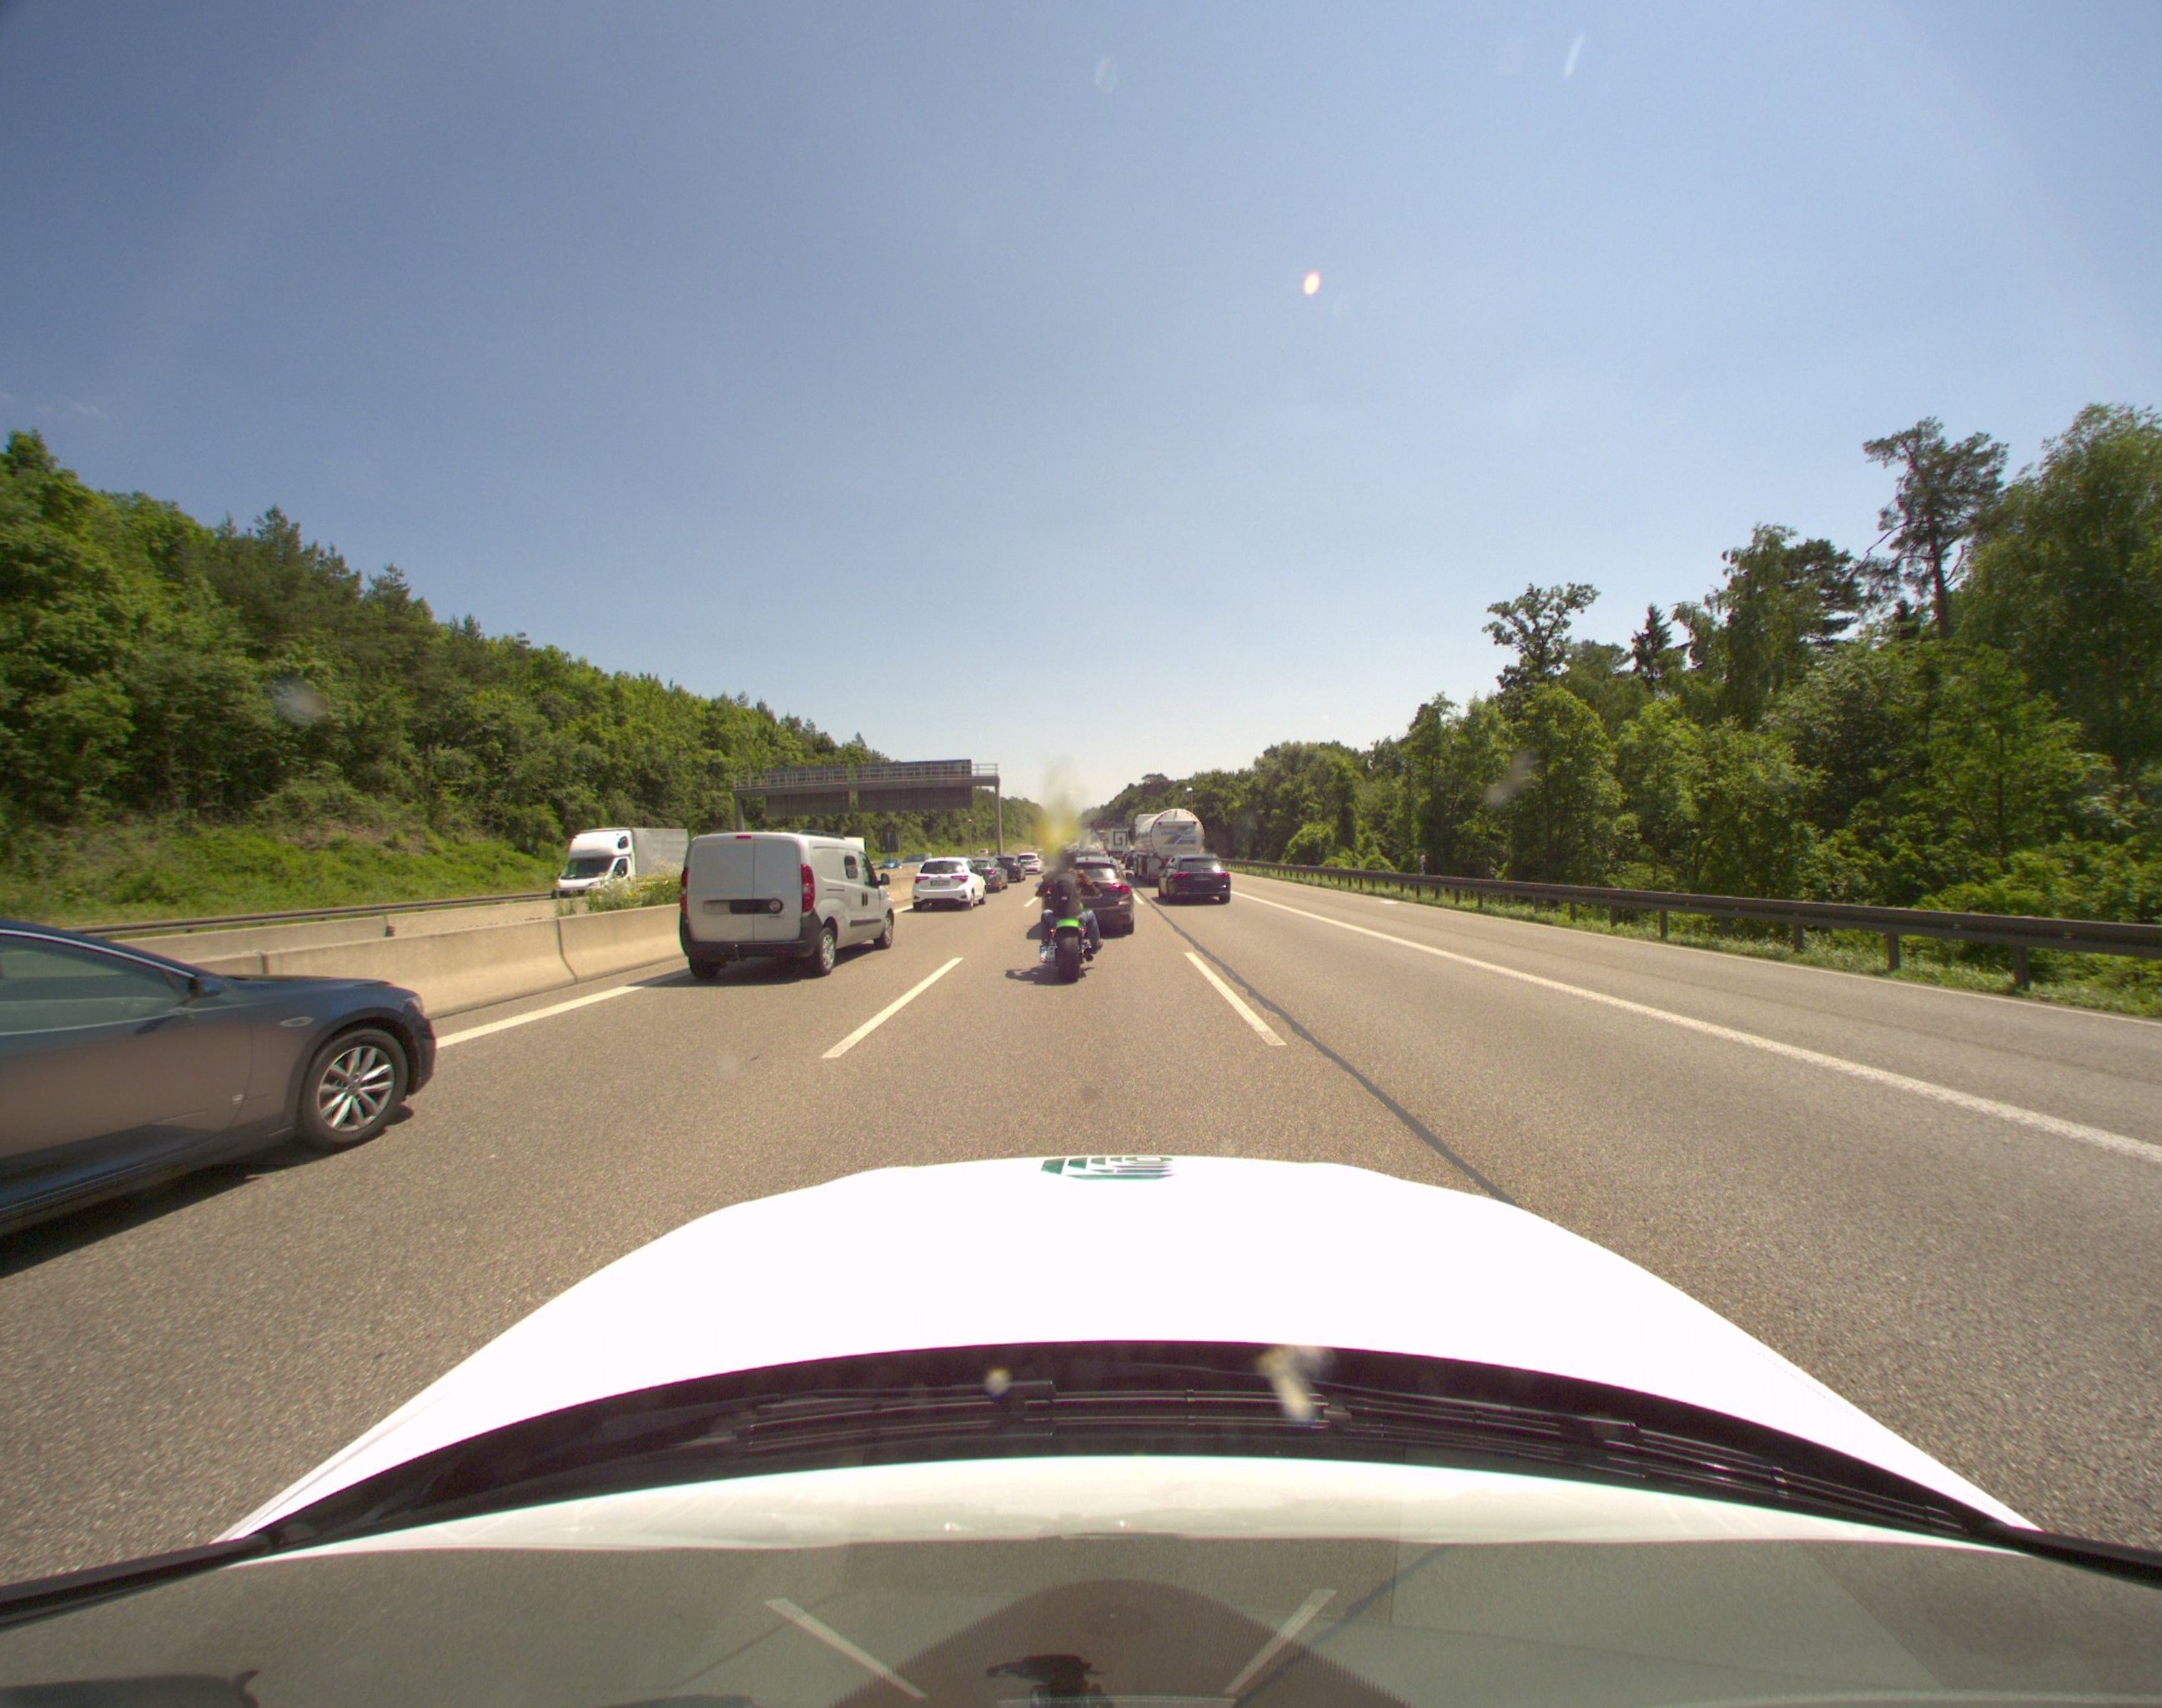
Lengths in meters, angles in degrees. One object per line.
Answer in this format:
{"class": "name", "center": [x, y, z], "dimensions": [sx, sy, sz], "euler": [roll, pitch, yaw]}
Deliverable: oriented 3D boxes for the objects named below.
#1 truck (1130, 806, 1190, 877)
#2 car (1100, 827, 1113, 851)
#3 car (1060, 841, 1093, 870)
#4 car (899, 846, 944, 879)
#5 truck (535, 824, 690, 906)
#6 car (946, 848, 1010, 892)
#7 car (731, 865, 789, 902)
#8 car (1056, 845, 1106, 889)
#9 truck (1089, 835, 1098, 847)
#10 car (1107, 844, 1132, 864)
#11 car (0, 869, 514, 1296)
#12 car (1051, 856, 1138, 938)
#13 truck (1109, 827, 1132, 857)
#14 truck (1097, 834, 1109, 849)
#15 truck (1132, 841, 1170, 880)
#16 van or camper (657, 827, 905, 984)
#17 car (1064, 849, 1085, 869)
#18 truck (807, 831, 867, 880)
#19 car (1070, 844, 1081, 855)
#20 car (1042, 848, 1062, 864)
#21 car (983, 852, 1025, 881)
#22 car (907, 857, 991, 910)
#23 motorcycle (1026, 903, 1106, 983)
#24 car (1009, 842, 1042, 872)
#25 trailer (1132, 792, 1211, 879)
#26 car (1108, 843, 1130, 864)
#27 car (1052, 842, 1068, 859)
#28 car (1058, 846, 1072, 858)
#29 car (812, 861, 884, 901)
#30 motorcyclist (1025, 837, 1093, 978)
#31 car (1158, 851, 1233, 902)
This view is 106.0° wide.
{"class": "truck", "center": [4.313, -0.590, 45.906], "dimensions": [2.818, 3.671, 6.430], "euler": [-1, -1, 1]}
{"class": "car", "center": [4.583, -2.547, 145.156], "dimensions": [2.159, 3.893, 9.330], "euler": [-1, -1, 1]}
{"class": "car", "center": [-0.286, 0.138, 52.106], "dimensions": [1.987, 1.775, 3.999], "euler": [-1, -1, 0]}
{"class": "car", "center": [-10.261, 0.583, 52.709], "dimensions": [1.986, 2.014, 4.001], "euler": [-1, -1, 2]}
{"class": "truck", "center": [-18.249, 0.448, 32.279], "dimensions": [2.170, 2.885, 6.742], "euler": [-1, -1, 0]}
{"class": "car", "center": [-4.183, 0.661, 33.675], "dimensions": [1.986, 1.684, 4.330], "euler": [-1, -1, 1]}
{"class": "car", "center": [-18.250, 1.625, 46.488], "dimensions": [1.845, 2.014, 3.513], "euler": [-1, -1, 1]}
{"class": "car", "center": [0.015, 0.555, 34.864], "dimensions": [1.987, 1.711, 3.999], "euler": [-1, -1, 0]}
{"class": "truck", "center": [3.979, -4.068, 259.537], "dimensions": [2.687, 3.405, 10.479], "euler": [-2, 0, 1]}
{"class": "car", "center": [3.004, 0.033, 64.119], "dimensions": [1.770, 1.527, 4.000], "euler": [-1, -1, 1]}
{"class": "car", "center": [-4.674, 0.816, 2.972], "dimensions": [1.868, 1.450, 4.678], "euler": [-1, 0, 1]}
{"class": "car", "center": [0.281, 0.778, 16.653], "dimensions": [1.535, 1.450, 4.001], "euler": [-1, 0, 1]}
{"class": "truck", "center": [5.358, -1.565, 109.837], "dimensions": [2.841, 3.821, 7.194], "euler": [-1, -1, 4]}
{"class": "truck", "center": [5.344, -2.975, 196.386], "dimensions": [2.687, 3.405, 10.479], "euler": [-2, 0, 1]}
{"class": "truck", "center": [5.659, 0.499, 67.190], "dimensions": [2.381, 2.979, 8.251], "euler": [-1, 0, 0]}
{"class": "van or camper", "center": [-4.120, 0.606, 12.119], "dimensions": [1.846, 1.880, 4.563], "euler": [-1, 0, 2]}
{"class": "car", "center": [-0.603, 0.520, 82.042], "dimensions": [1.986, 2.014, 4.000], "euler": [-1, -1, 1]}
{"class": "truck", "center": [-21.115, 0.167, 70.961], "dimensions": [2.683, 3.990, 7.991], "euler": [-1, -1, 1]}
{"class": "car", "center": [-1.009, -0.856, 149.700], "dimensions": [1.987, 2.013, 4.000], "euler": [-2, 0, 1]}
{"class": "car", "center": [-2.943, 0.221, 82.107], "dimensions": [1.757, 1.442, 4.001], "euler": [-1, -1, 1]}
{"class": "car", "center": [-4.046, 0.667, 43.521], "dimensions": [1.988, 1.464, 3.996], "euler": [-1, -1, -2]}
{"class": "car", "center": [-3.854, 0.842, 24.361], "dimensions": [1.770, 1.411, 4.000], "euler": [-1, -1, 1]}
{"class": "motorcycle", "center": [-0.161, 1.118, 10.763], "dimensions": [0.932, 0.793, 2.299], "euler": [-1, 0, 1]}
{"class": "car", "center": [-3.828, 0.248, 57.062], "dimensions": [1.987, 2.014, 4.000], "euler": [-1, -1, 0]}
{"class": "trailer", "center": [4.210, -0.690, 40.079], "dimensions": [2.818, 3.671, 10.733], "euler": [-1, -1, 1]}
{"class": "car", "center": [3.764, -0.028, 81.559], "dimensions": [1.987, 2.014, 3.998], "euler": [-1, -1, -1]}
{"class": "car", "center": [-2.508, -0.396, 97.239], "dimensions": [1.654, 1.978, 4.001], "euler": [-1, -1, 1]}
{"class": "car", "center": [-2.140, -0.264, 109.219], "dimensions": [1.654, 1.599, 4.001], "euler": [-1, -1, 1]}
{"class": "car", "center": [-9.623, 1.065, 33.926], "dimensions": [1.819, 1.494, 3.999], "euler": [-2, 0, 0]}
{"class": "motorcyclist", "center": [-0.253, 0.656, 10.343], "dimensions": [0.796, 1.688, 1.016], "euler": [-1, -1, 1]}
{"class": "car", "center": [3.511, 0.681, 25.700], "dimensions": [1.786, 1.458, 4.624], "euler": [-1, -1, 1]}
